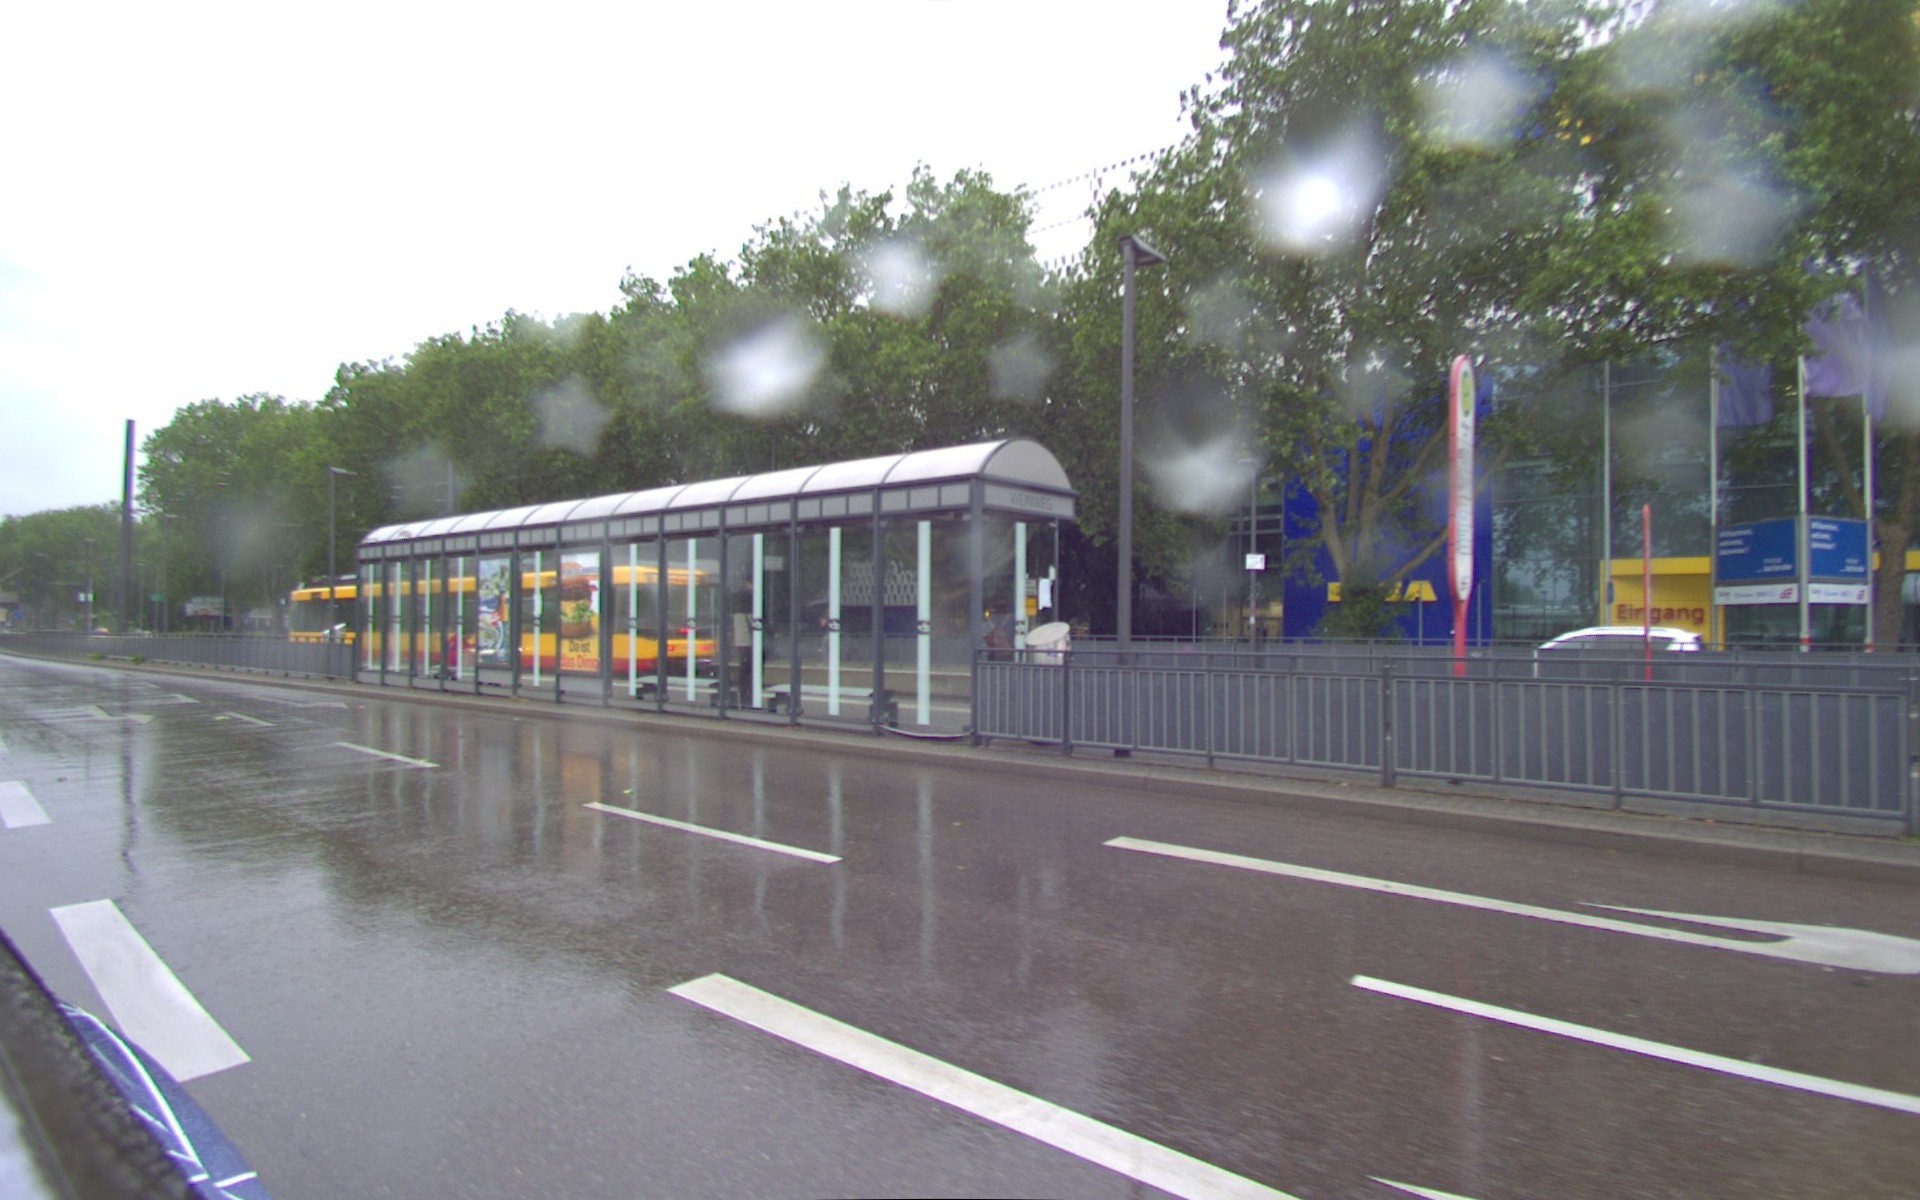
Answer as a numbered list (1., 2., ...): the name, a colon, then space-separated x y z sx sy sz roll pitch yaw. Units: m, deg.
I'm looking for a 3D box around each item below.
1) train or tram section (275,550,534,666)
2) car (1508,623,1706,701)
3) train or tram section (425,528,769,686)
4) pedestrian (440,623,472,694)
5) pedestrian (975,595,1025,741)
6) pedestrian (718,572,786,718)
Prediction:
1. train or tram section: -22.432 0.311 40.033 15.561 3.827 3.703 -1 0 40
2. car: 13.610 1.252 21.415 3.421 1.475 1.567 -1 0 35
3. train or tram section: -11.466 0.211 30.613 13.246 3.868 3.703 -1 0 40
4. pedestrian: -9.132 1.046 18.348 0.451 1.245 0.468 0 0 -35
5. pedestrian: 0.424 0.705 10.762 0.317 1.504 0.416 -2 1 -44
6. pedestrian: -2.800 0.580 13.601 0.646 1.885 0.774 -1 0 -33
